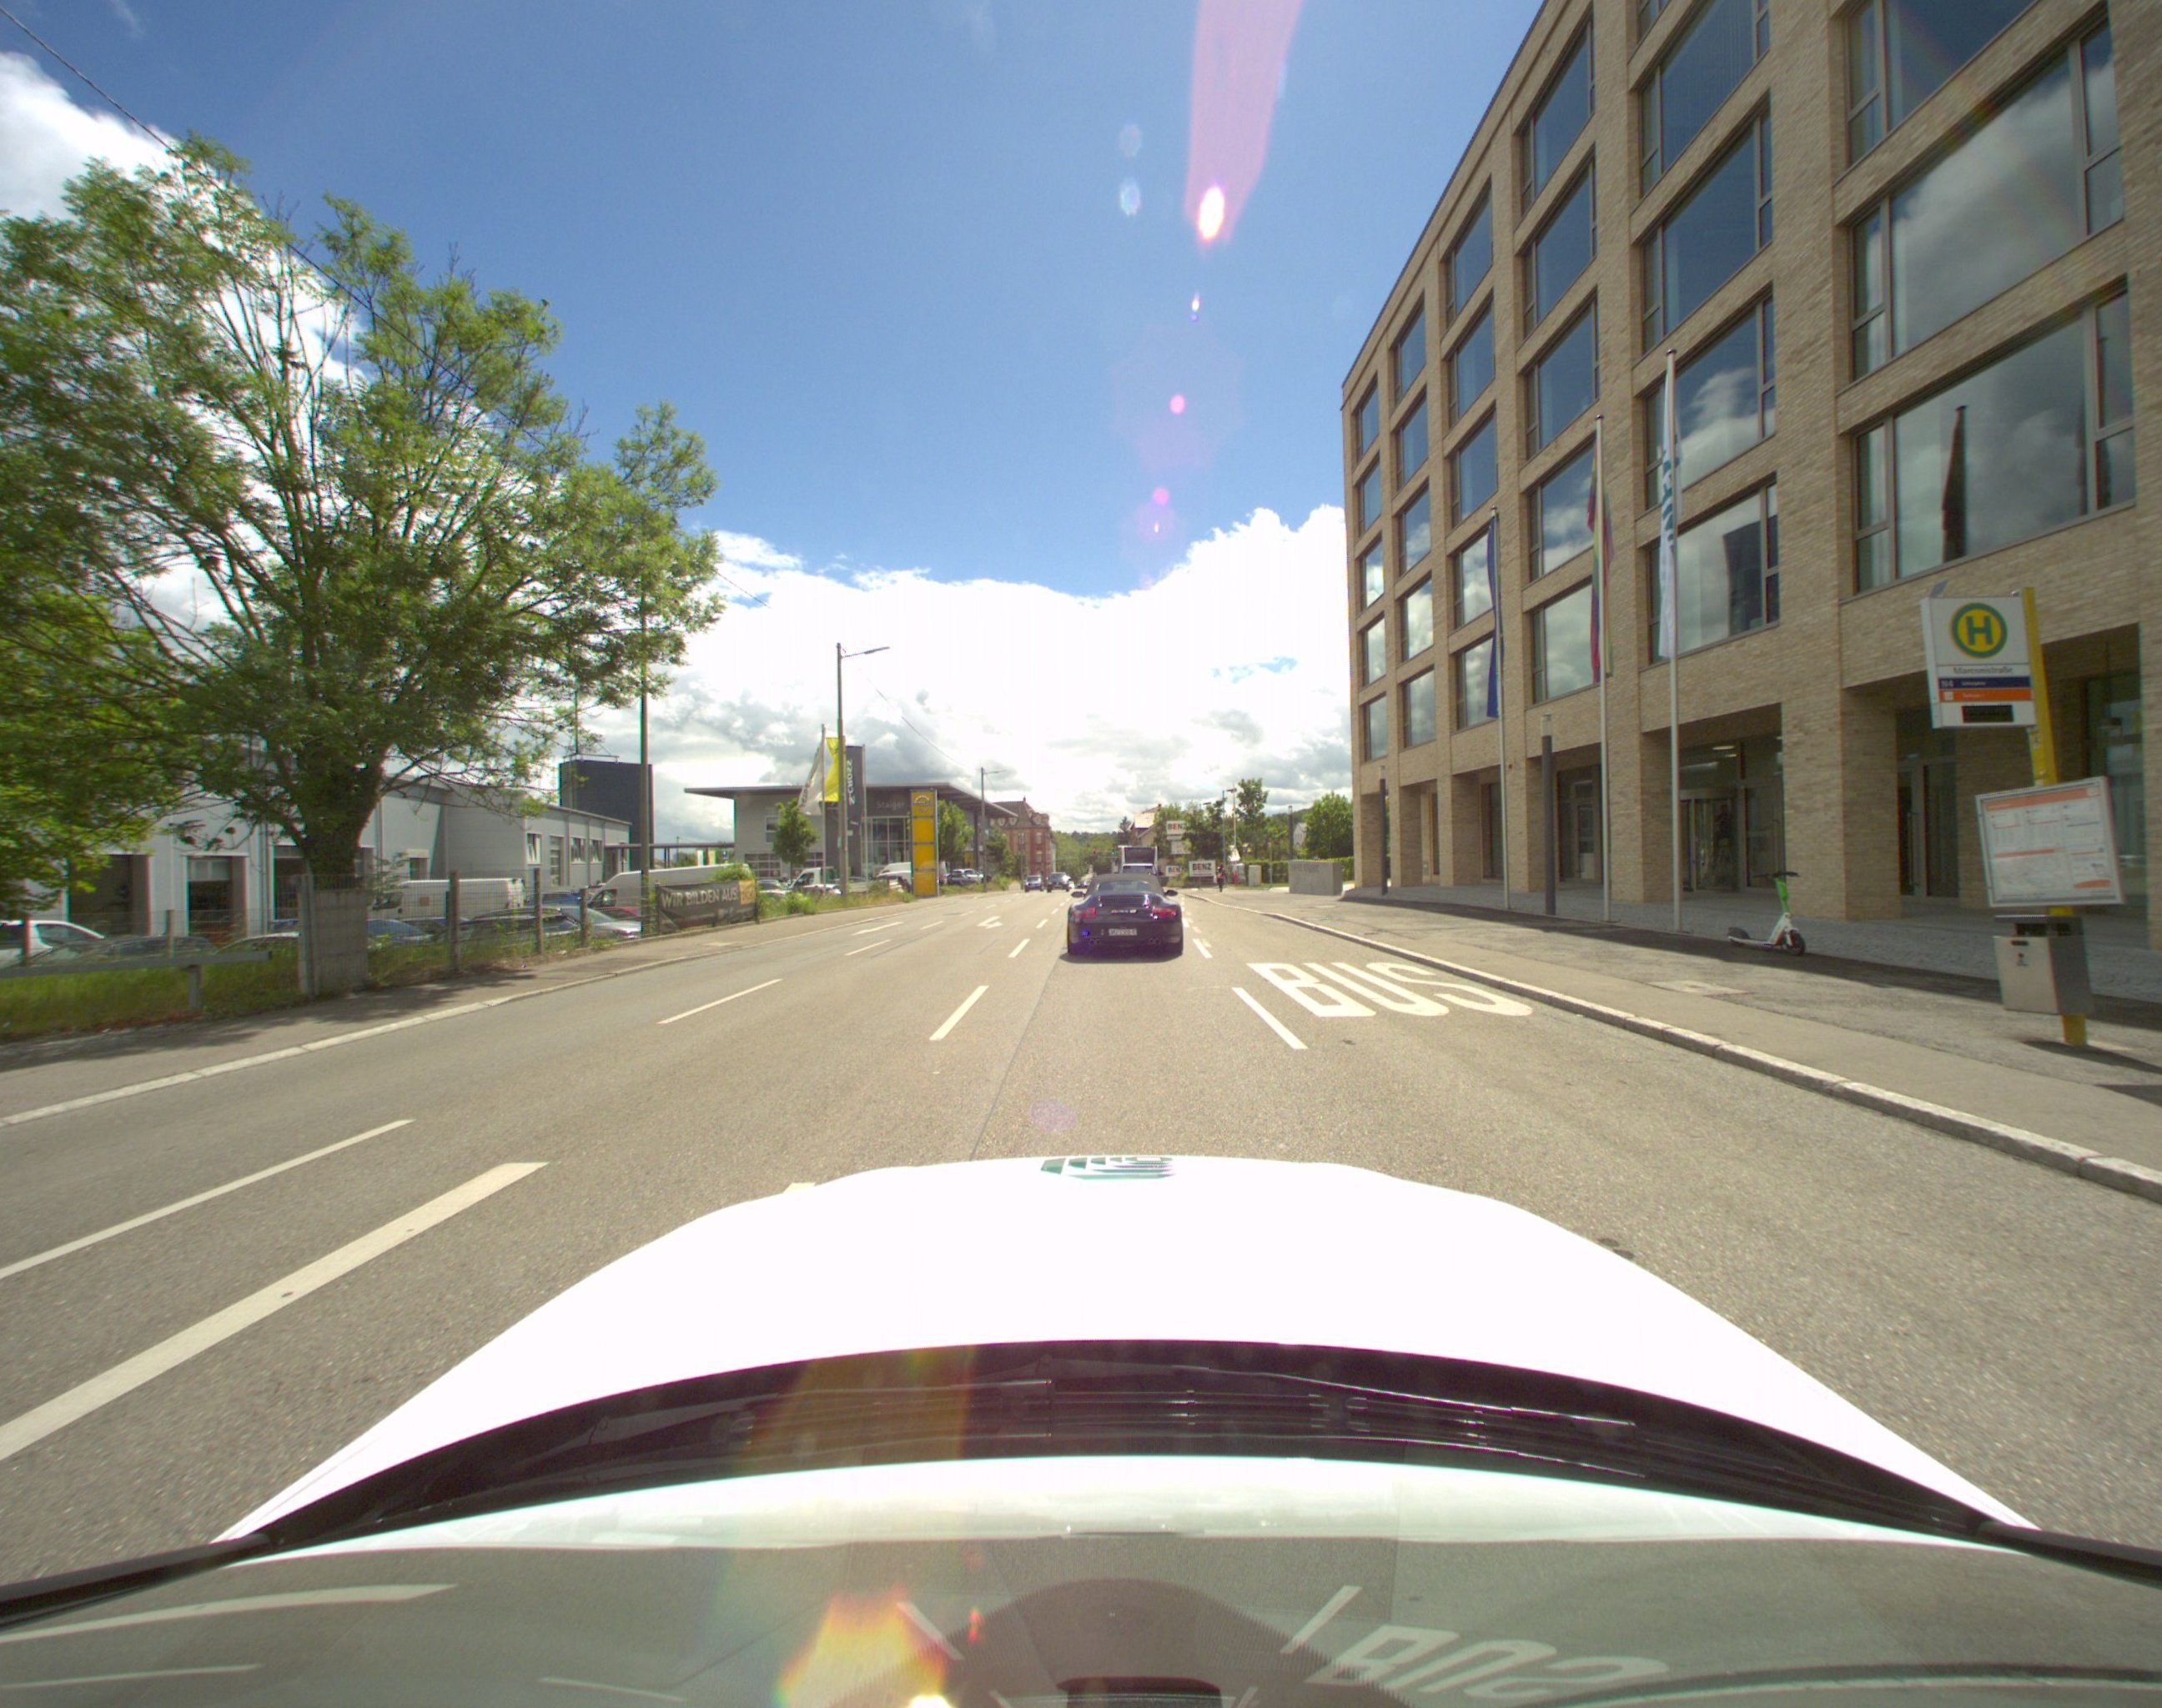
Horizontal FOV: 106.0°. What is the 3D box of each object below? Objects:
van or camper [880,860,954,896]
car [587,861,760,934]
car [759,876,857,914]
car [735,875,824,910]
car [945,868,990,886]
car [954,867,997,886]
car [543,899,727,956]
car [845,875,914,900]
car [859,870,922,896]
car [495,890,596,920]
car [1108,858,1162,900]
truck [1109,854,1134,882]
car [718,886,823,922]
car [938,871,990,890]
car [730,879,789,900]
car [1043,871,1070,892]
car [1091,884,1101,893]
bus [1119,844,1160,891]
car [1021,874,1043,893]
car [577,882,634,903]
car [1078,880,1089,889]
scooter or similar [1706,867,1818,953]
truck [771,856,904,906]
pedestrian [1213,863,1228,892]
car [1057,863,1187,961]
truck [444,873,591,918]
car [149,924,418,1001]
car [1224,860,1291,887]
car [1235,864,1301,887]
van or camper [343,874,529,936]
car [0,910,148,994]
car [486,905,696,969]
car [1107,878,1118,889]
[{"bbox_3d":[-12.400,1.779,61.742,5.009,2.531,2.318,-1,0,0],"label":"van or camper"},{"bbox_3d":[-12.385,1.273,24.984,4.148,2.013,2.198,-1,0,-1],"label":"car"},{"bbox_3d":[-12.675,1.899,38.014,3.871,1.610,1.928,-1,-2,1],"label":"car"},{"bbox_3d":[-16.417,2.079,44.437,4.066,1.522,1.826,-4,0,0],"label":"car"},{"bbox_3d":[-10.491,2.130,75.549,1.913,1.573,4.579,-2,-2,25],"label":"car"},{"bbox_3d":[-10.413,2.202,80.545,1.975,1.698,4.512,-1,0,27],"label":"car"},{"bbox_3d":[-12.331,2.019,22.720,4.020,1.386,1.928,-1,-2,-1],"label":"car"},{"bbox_3d":[-13.424,2.246,54.395,3.969,1.491,2.002,-1,0,4],"label":"car"},{"bbox_3d":[-13.829,2.104,59.164,3.966,1.706,2.004,-1,0,6],"label":"car"},{"bbox_3d":[-28.919,2.741,44.170,4.244,1.497,1.914,0,-2,-22],"label":"car"},{"bbox_3d":[2.193,0.980,34.011,1.925,1.583,4.206,-1,0,-1],"label":"car"},{"bbox_3d":[4.939,1.814,100.503,2.657,3.108,9.035,-2,-2,1],"label":"truck"},{"bbox_3d":[-12.508,2.010,32.886,3.529,1.325,1.713,-1,-2,4],"label":"car"},{"bbox_3d":[-10.161,2.281,70.864,1.877,1.450,4.862,-1,0,29],"label":"car"},{"bbox_3d":[-24.330,2.683,61.722,3.689,1.398,1.844,-1,0,-4],"label":"car"},{"bbox_3d":[-1.846,2.126,62.572,1.823,1.509,4.275,-2,-2,0],"label":"car"},{"bbox_3d":[2.873,6.709,156.838,1.857,1.666,4.258,-2,-2,1],"label":"car"},{"bbox_3d":[4.438,0.937,63.442,2.790,3.198,12.205,-1,0,3],"label":"bus"},{"bbox_3d":[-4.632,2.782,77.951,1.738,1.595,4.041,-4,-1,0],"label":"car"},{"bbox_3d":[-36.258,2.944,62.167,3.475,1.398,1.653,-1,0,-17],"label":"car"},{"bbox_3d":[0.447,5.549,149.700,1.857,1.541,4.106,-1,-2,1],"label":"car"},{"bbox_3d":[9.839,0.774,11.826,0.425,1.153,1.404,-2,-1,1],"label":"scooter or similar"},{"bbox_3d":[-12.057,1.347,40.635,5.846,2.148,2.474,-2,-2,-2],"label":"truck"},{"bbox_3d":[7.608,1.274,44.428,0.685,1.536,0.856,-2,-1,1],"label":"pedestrian"},{"bbox_3d":[0.716,0.899,14.324,1.923,1.376,4.211,-1,0,2],"label":"car"},{"bbox_3d":[-31.635,2.327,46.024,6.313,2.229,2.684,-1,-2,-20],"label":"truck"},{"bbox_3d":[-16.987,2.296,17.495,4.017,1.386,1.825,-1,-2,2],"label":"car"},{"bbox_3d":[13.845,1.561,63.972,4.702,1.848,2.084,-3,-2,-7],"label":"car"},{"bbox_3d":[13.993,1.633,61.138,4.417,1.482,2.000,-3,-2,0],"label":"car"},{"bbox_3d":[-28.445,2.178,36.228,5.897,2.355,2.488,-2,0,-18],"label":"van or camper"},{"bbox_3d":[-25.346,2.343,18.760,1.829,1.728,4.920,-2,-1,3],"label":"car"},{"bbox_3d":[-11.992,2.018,20.142,4.017,1.386,1.929,-1,-2,2],"label":"car"},{"bbox_3d":[6.146,5.750,158.873,1.827,1.882,3.999,-2,-1,0],"label":"car"}]
